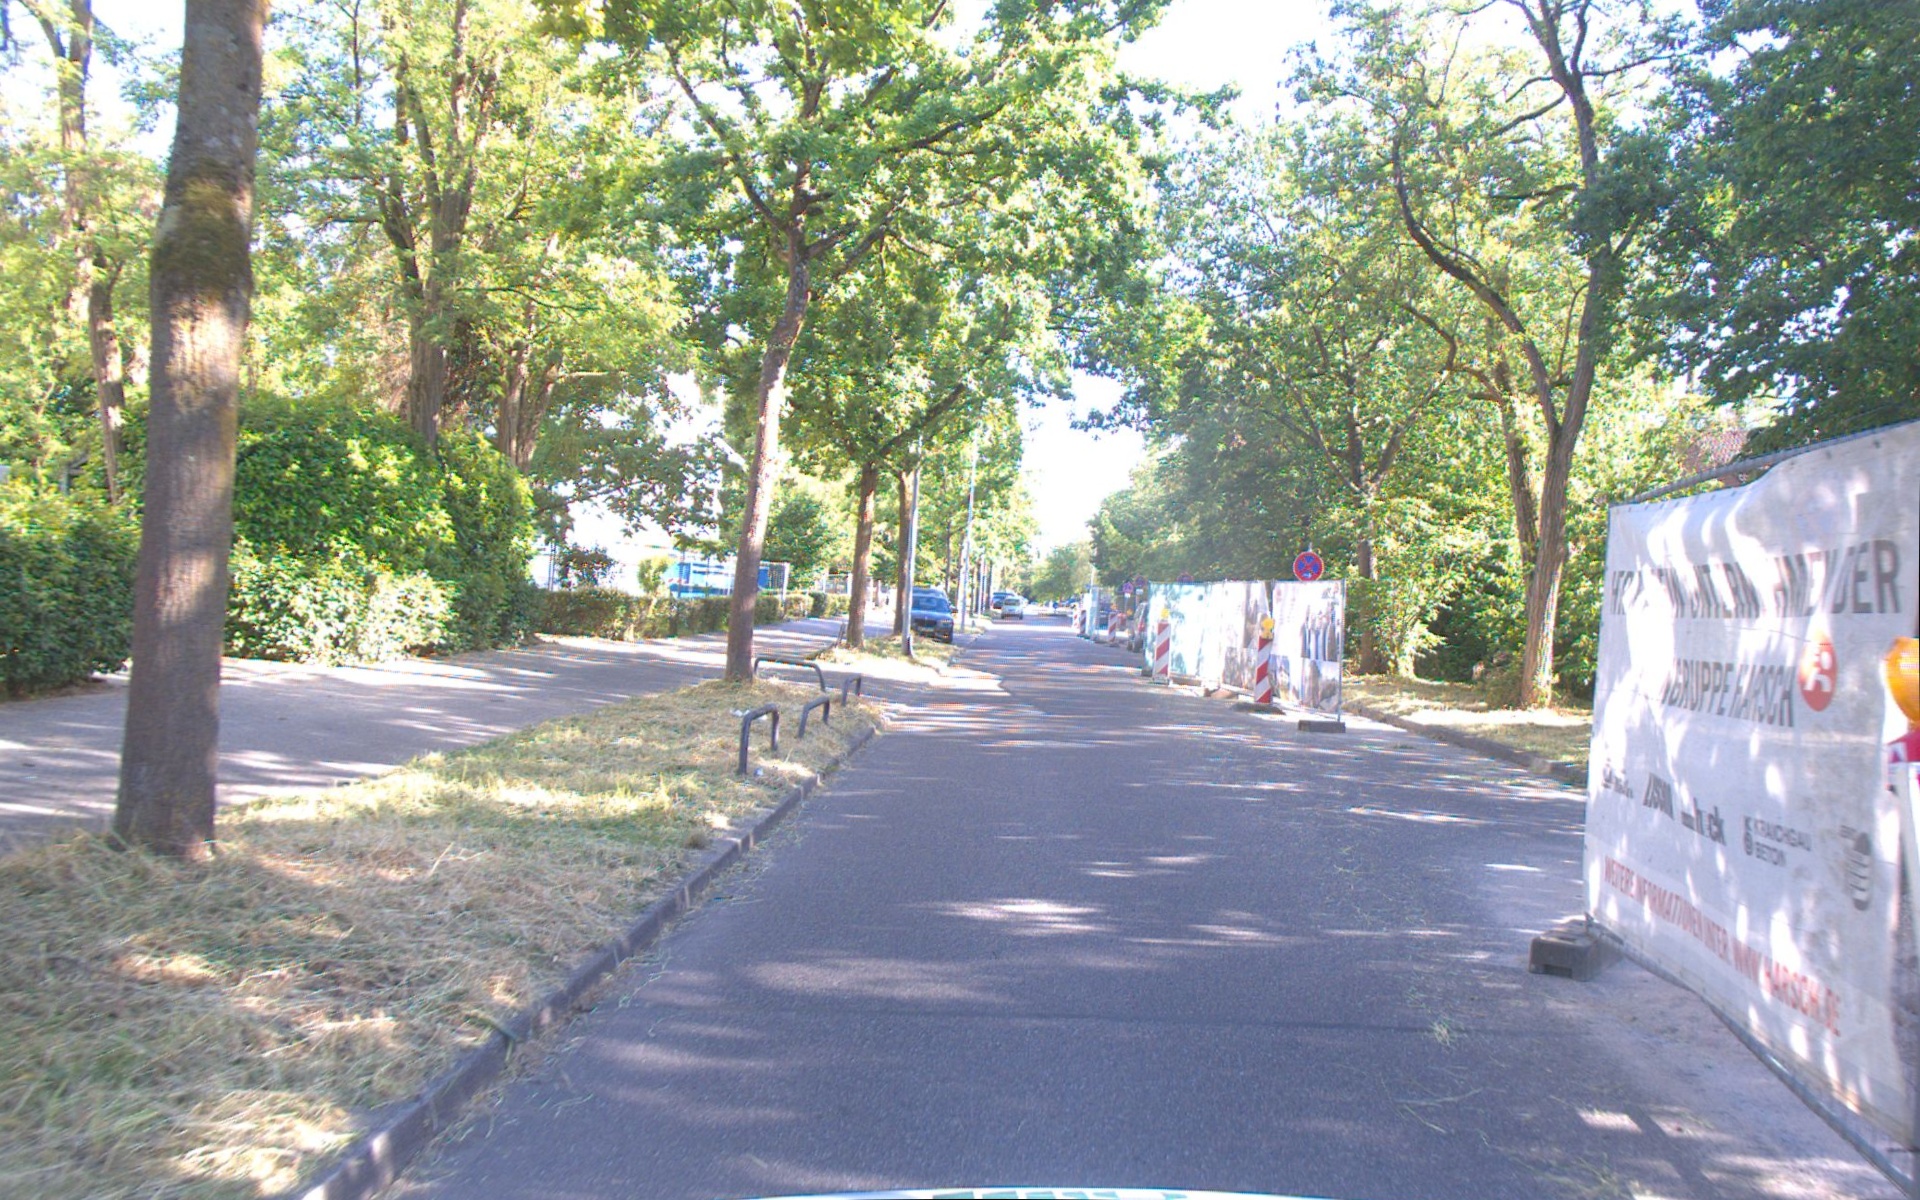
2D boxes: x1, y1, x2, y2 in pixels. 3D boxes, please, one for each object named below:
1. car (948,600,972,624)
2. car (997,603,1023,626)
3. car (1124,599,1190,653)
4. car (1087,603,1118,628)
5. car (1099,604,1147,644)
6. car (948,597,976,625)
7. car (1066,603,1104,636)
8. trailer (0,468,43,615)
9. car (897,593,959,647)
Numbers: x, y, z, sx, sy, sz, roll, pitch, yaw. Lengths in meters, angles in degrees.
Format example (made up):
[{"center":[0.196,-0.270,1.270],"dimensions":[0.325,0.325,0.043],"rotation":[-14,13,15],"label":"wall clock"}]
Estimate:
[{"center":[0.000,0.712,98.182],"dimensions":[1.334,1.324,3.481],"rotation":[4,-1,0],"label":"car"},{"center":[3.925,1.127,129.873],"dimensions":[1.676,1.612,3.998],"rotation":[4,-1,-1],"label":"car"},{"center":[6.490,0.839,54.786],"dimensions":[1.717,1.623,3.657],"rotation":[4,0,1],"label":"car"},{"center":[8.896,0.933,103.573],"dimensions":[1.757,1.434,4.002],"rotation":[3,0,4],"label":"car"},{"center":[5.966,0.889,60.713],"dimensions":[1.334,1.324,3.481],"rotation":[4,-1,0],"label":"car"},{"center":[0.117,0.582,86.430],"dimensions":[1.334,1.324,3.481],"rotation":[4,-1,0],"label":"car"},{"center":[5.550,0.867,73.703],"dimensions":[1.334,1.324,3.481],"rotation":[4,-1,0],"label":"car"},{"center":[-14.823,-0.893,22.268],"dimensions":[1.934,2.078,4.433],"rotation":[3,0,9],"label":"trailer"},{"center":[-0.957,0.603,51.069],"dimensions":[1.715,1.503,3.837],"rotation":[4,0,1],"label":"car"}]
